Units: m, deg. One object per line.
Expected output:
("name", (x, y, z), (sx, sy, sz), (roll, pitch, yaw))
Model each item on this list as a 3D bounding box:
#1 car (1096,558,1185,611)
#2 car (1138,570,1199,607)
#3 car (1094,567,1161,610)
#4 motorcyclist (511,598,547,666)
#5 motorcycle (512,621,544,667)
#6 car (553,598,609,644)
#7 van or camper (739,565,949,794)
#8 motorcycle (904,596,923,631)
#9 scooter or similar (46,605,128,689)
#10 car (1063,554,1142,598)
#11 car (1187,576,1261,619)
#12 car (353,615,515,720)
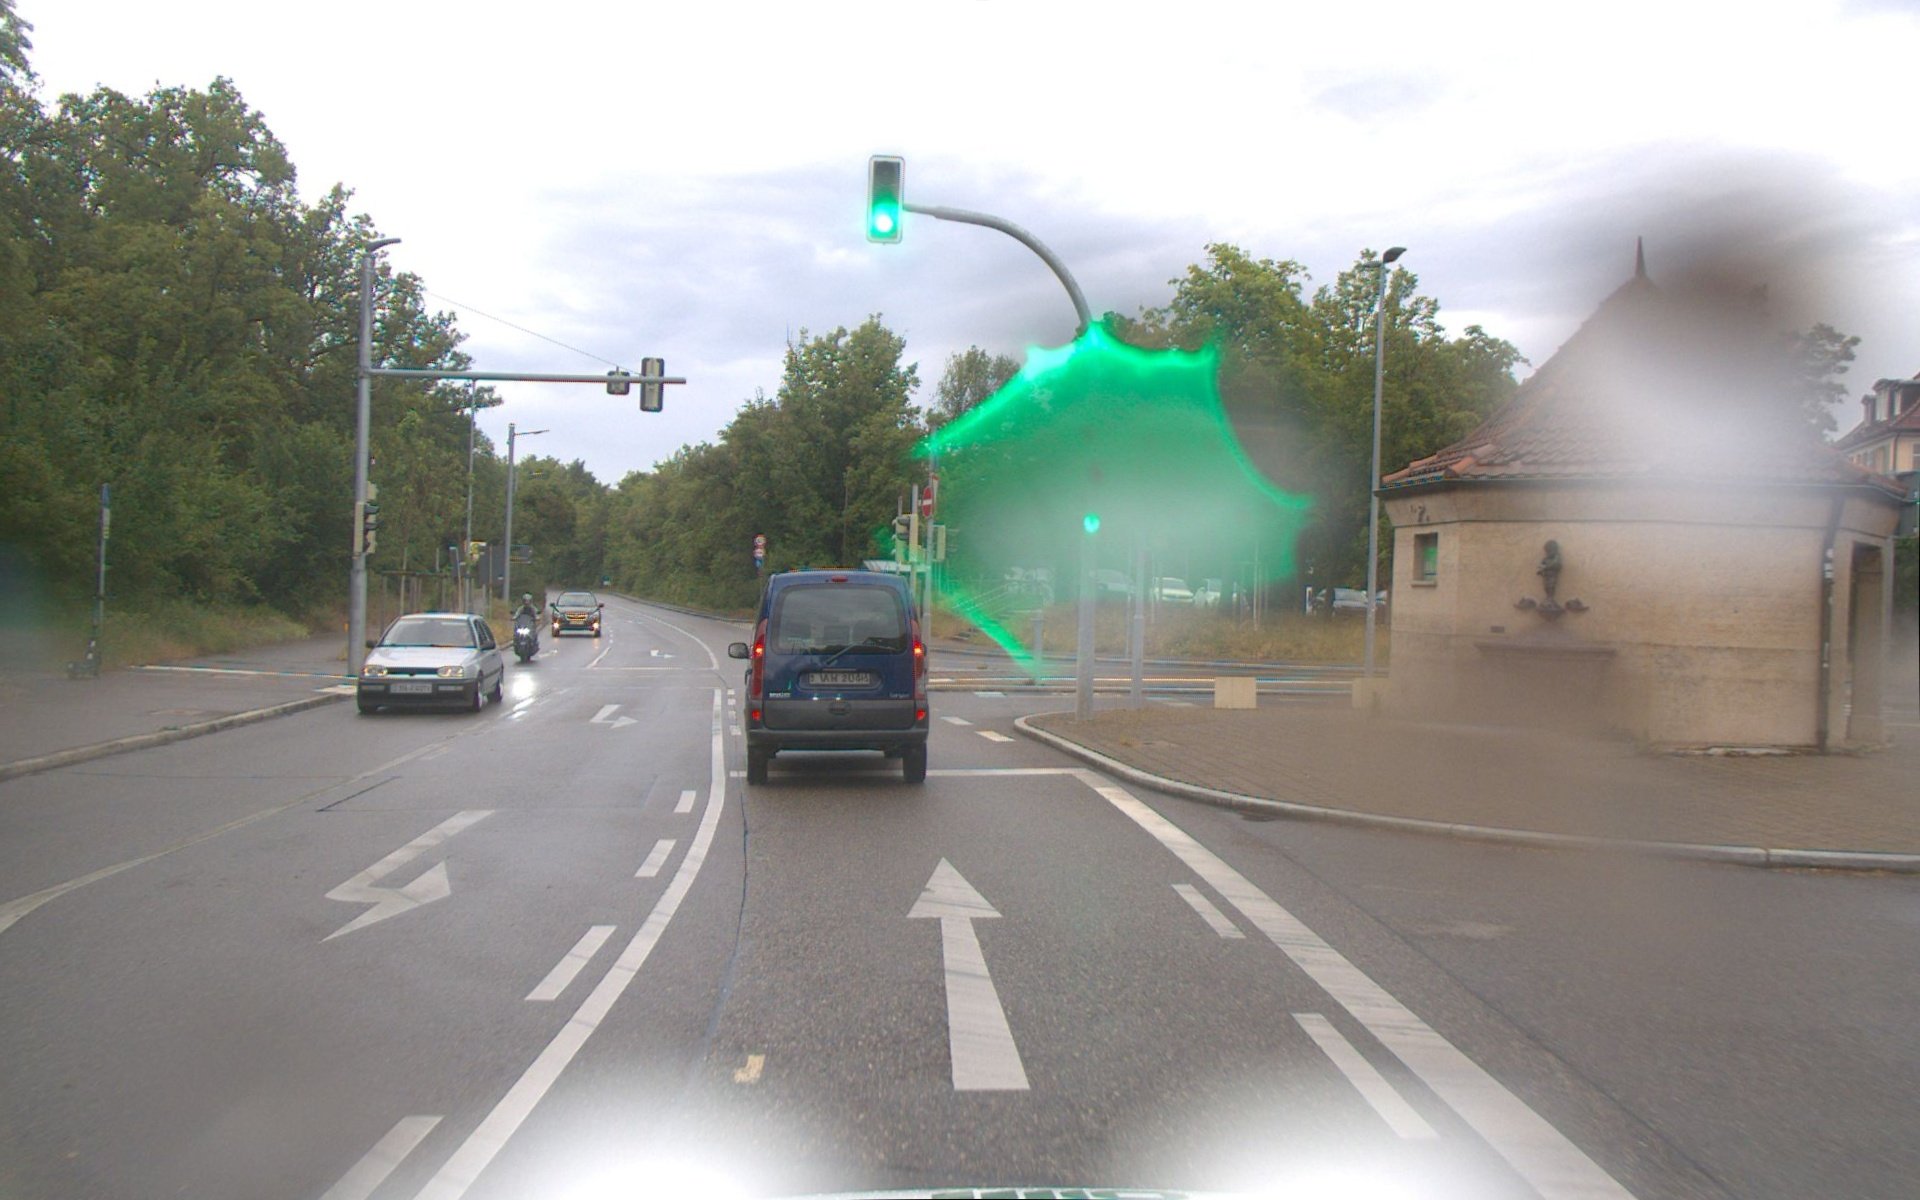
("car", (6.323, -0.557, 58.305), (1.958, 1.690, 3.990), (4, 0, -11))
("car", (9.454, -0.483, 75.409), (1.849, 1.505, 4.064), (4, -1, -5))
("car", (7.350, -0.503, 72.828), (1.956, 1.690, 4.466), (4, 0, -6))
("motorcyclist", (-10.662, 0.778, 40.942), (0.731, 1.661, 0.926), (0, 0, -7))
("motorcycle", (-10.680, 1.076, 40.948), (0.583, 1.069, 1.994), (0, 0, -10))
("car", (-14.033, 0.745, 61.431), (1.756, 1.609, 4.551), (0, 0, -10))
("van or camper", (-1.213, 0.664, 15.717), (1.680, 1.858, 3.993), (2, 0, -7))
("motorcycle", (-1.749, 0.510, 62.766), (0.576, 1.311, 1.538), (1, 0, 3))
("scooter or similar", (-13.386, 0.699, 25.397), (0.507, 1.233, 1.468), (2, 0, -3))
("car", (5.443, -0.883, 63.835), (1.957, 1.505, 4.274), (3, -1, -10))
("car", (10.308, -0.075, 64.774), (1.849, 1.505, 4.064), (3, -1, -5))
("car", (-7.830, 0.950, 24.948), (1.709, 1.376, 4.200), (0, 0, -9))
